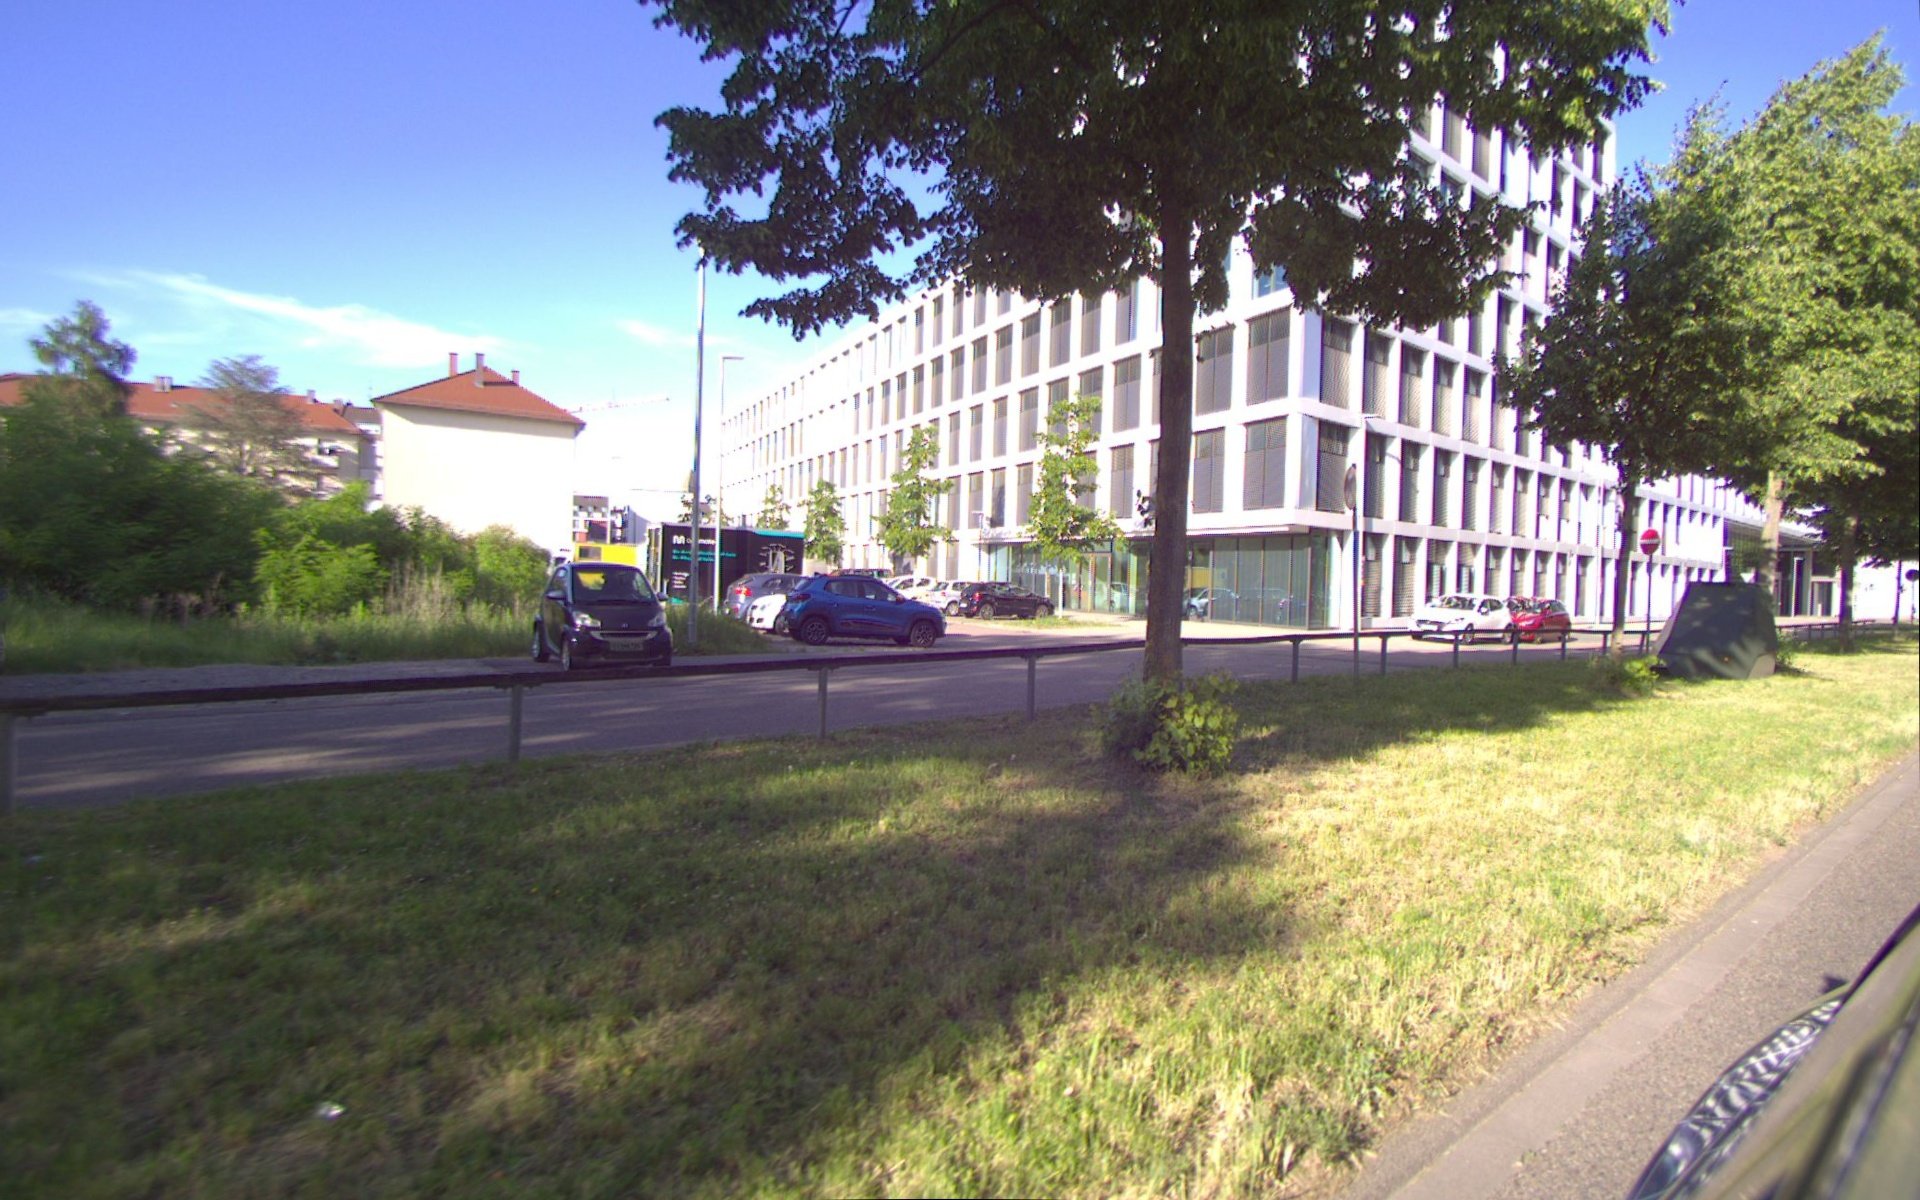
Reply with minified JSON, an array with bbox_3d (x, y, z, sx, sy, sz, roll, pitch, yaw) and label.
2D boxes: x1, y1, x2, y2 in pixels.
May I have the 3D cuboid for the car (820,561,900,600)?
[{"bbox_3d":[-5.438,-1.053,55.111,3.917,2.039,2.003,0,0,-25],"label":"car"}]

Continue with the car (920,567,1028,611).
[{"bbox_3d":[0.562,-0.463,41.313,3.917,1.705,2.003,-1,0,-25],"label":"car"}]

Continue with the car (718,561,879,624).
[{"bbox_3d":[-4.212,-0.210,26.346,3.868,1.559,1.726,0,0,-22],"label":"car"}]

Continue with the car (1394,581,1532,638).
[{"bbox_3d":[15.315,0.243,30.752,4.321,1.503,2.000,0,5,-38],"label":"car"}]

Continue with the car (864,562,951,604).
[{"bbox_3d":[-2.635,-0.851,50.687,3.917,2.039,2.003,0,0,-25],"label":"car"}]

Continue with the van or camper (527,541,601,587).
[{"bbox_3d":[-26.099,-2.340,66.711,4.469,2.956,2.003,0,0,-25],"label":"van or camper"}]

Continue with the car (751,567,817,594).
[{"bbox_3d":[-11.534,-1.262,66.306,3.917,1.715,2.003,-1,0,-25],"label":"car"}]

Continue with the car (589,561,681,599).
[{"bbox_3d":[-15.472,-0.955,48.234,3.918,1.749,2.004,0,1,-26],"label":"car"}]

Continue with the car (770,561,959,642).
[{"bbox_3d":[-2.079,0.039,21.933,3.739,1.565,1.602,2,1,-21],"label":"car"}]

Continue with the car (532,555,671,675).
[{"bbox_3d":[-5.392,0.141,15.055,1.433,1.568,2.779,0,3,-31],"label":"car"}]

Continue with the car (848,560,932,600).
[{"bbox_3d":[-3.689,-1.049,53.203,3.917,2.039,2.003,0,0,-25],"label":"car"}]

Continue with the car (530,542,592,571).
[{"bbox_3d":[-27.547,-2.977,69.809,3.917,1.838,2.004,0,0,-23],"label":"car"}]

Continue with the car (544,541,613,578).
[{"bbox_3d":[-24.089,-2.556,63.934,3.917,2.245,2.003,0,0,-25],"label":"car"}]

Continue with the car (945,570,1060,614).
[{"bbox_3d":[1.636,-0.319,38.778,3.917,1.594,2.003,-1,0,-24],"label":"car"}]

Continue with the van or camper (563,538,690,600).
[{"bbox_3d":[-16.606,-1.507,50.488,5.732,2.928,2.002,-1,0,-28],"label":"van or camper"}]

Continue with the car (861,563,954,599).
[{"bbox_3d":[-2.505,-0.895,47.931,3.917,1.616,2.003,-1,0,-25],"label":"car"}]

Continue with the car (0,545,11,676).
[{"bbox_3d":[-11.227,0.187,10.510,1.685,1.485,4.091,0,3,-39],"label":"car"}]

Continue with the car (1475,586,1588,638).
[{"bbox_3d":[19.036,0.335,33.627,4.197,1.503,1.869,-1,5,-40],"label":"car"}]

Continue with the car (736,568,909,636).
[{"bbox_3d":[-3.313,0.024,24.352,3.800,1.555,1.755,0,0,-22],"label":"car"}]
